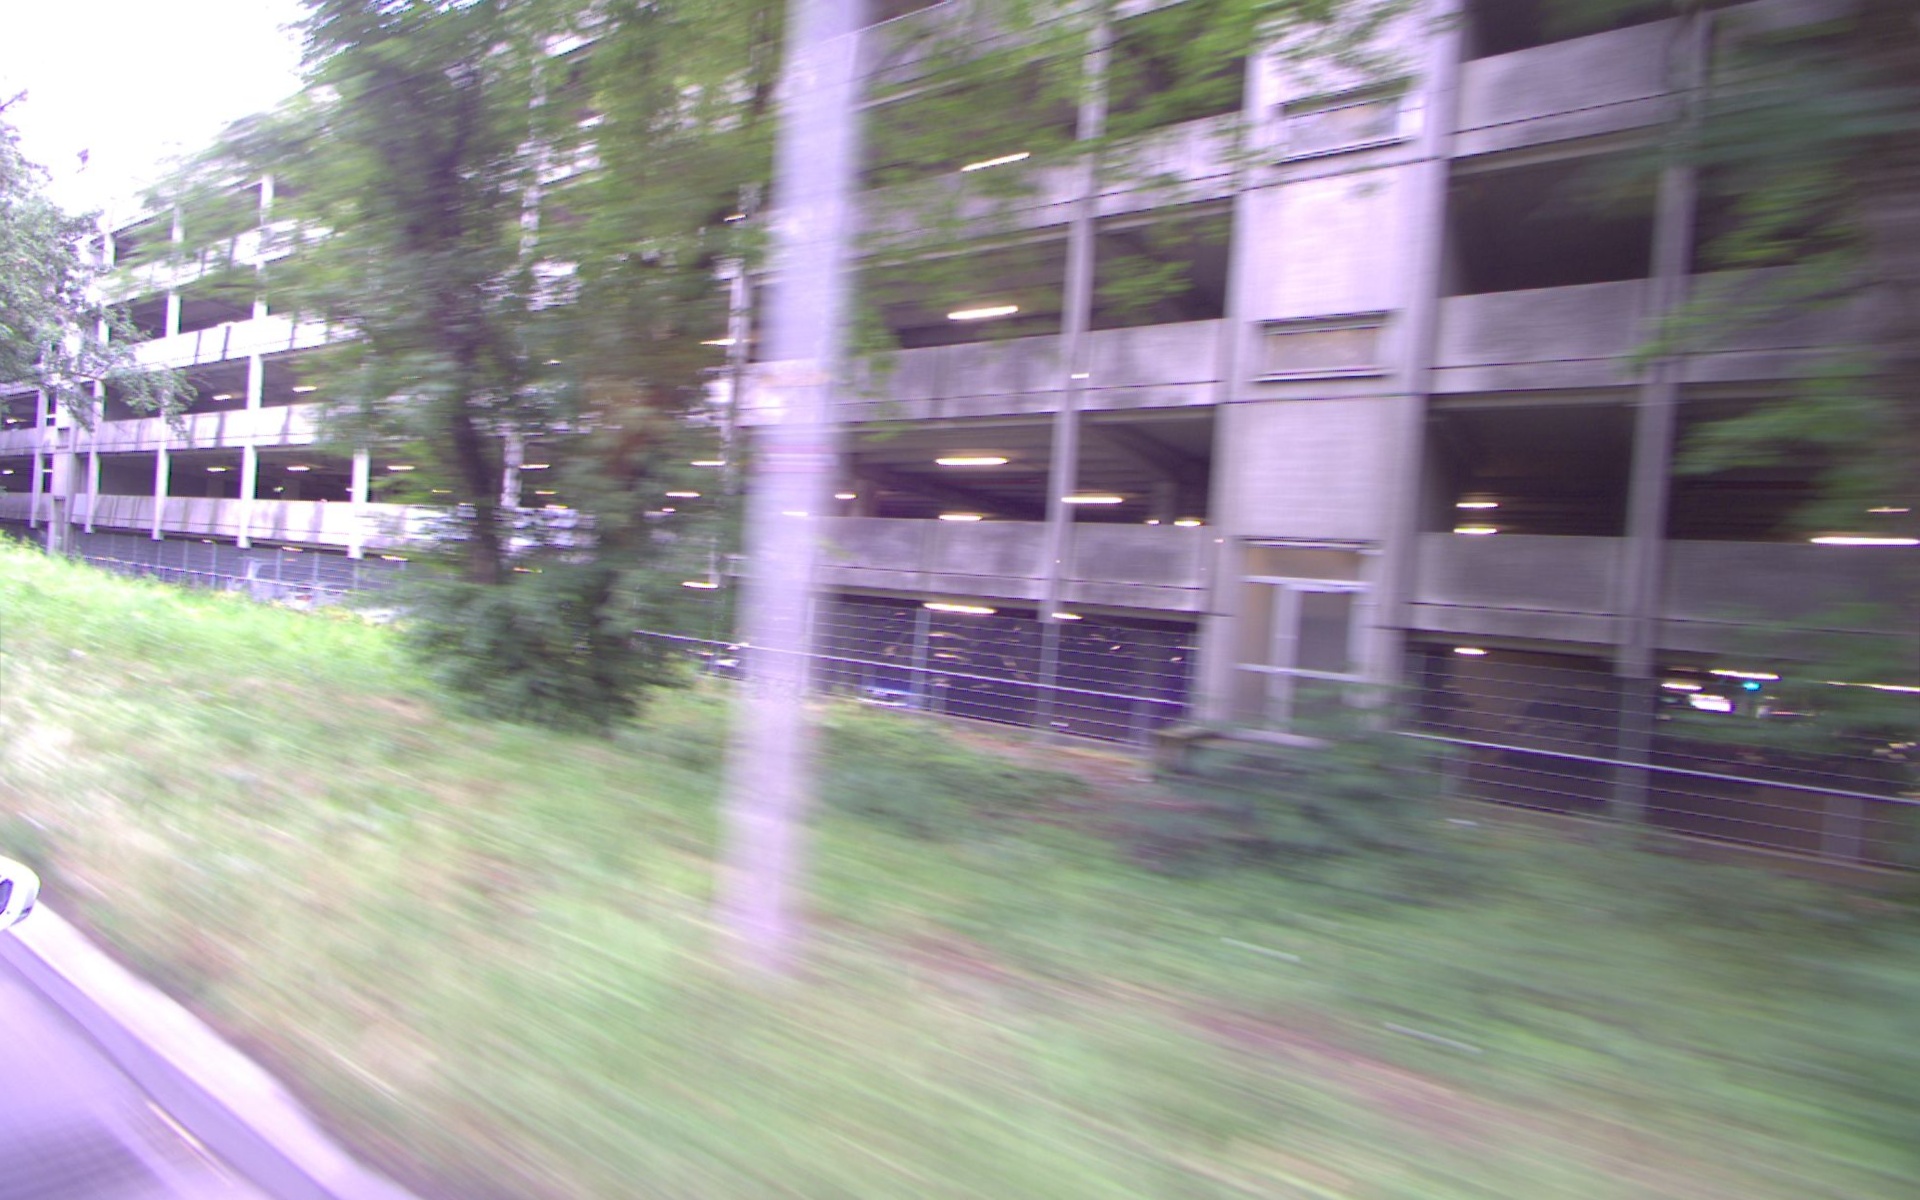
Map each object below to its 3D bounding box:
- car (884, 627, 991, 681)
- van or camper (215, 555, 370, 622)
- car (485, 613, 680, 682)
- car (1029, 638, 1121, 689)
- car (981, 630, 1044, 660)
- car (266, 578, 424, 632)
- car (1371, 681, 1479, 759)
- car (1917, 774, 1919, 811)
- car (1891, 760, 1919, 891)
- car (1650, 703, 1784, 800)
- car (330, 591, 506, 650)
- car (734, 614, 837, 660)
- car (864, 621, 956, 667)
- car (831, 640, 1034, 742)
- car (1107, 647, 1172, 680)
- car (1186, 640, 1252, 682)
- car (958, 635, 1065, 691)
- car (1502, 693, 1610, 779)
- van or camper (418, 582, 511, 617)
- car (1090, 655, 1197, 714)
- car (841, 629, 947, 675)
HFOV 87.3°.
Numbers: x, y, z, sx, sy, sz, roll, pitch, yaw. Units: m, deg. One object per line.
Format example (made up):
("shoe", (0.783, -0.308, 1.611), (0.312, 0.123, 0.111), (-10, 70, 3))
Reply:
("car", (-0.664, 1.746, 32.654), (1.646, 1.498, 3.664), (6, 1, 32))
("van or camper", (-23.113, -0.373, 34.963), (1.810, 1.979, 4.007), (5, 0, 32))
("car", (-9.997, 1.282, 26.983), (1.916, 1.526, 4.591), (6, 1, 33))
("car", (4.043, 2.161, 34.824), (1.646, 1.501, 3.664), (6, 1, 32))
("car", (2.671, 2.294, 50.519), (1.668, 1.284, 3.518), (6, 0, 30))
("car", (-20.287, 0.187, 33.332), (1.918, 1.454, 4.007), (5, 0, 32))
("car", (11.461, 2.847, 24.652), (1.796, 1.470, 4.062), (6, 0, 32))
("car", (19.243, 3.434, 18.459), (1.684, 1.544, 3.716), (4, -1, 33))
("car", (11.978, 2.786, 11.106), (1.684, 1.474, 4.443), (4, -1, 33))
("car", (16.178, 3.162, 21.690), (1.796, 1.507, 4.062), (6, 0, 32))
("car", (-16.383, 0.669, 30.605), (1.918, 1.525, 4.256), (5, 0, 32))
("car", (-6.321, 1.359, 36.797), (1.646, 1.459, 3.664), (6, 0, 31))
("car", (-1.902, 1.737, 39.587), (1.759, 1.564, 3.694), (5, 0, 31))
("car", (-0.416, 1.680, 19.420), (1.834, 1.552, 3.987), (6, 1, 34))
("car", (8.354, 2.964, 46.668), (1.669, 1.284, 3.516), (6, -1, 33))
("car", (11.344, 2.684, 43.932), (1.669, 1.589, 3.516), (6, 0, 33))
("car", (1.660, 1.935, 31.300), (1.646, 1.501, 3.664), (6, 1, 32))
("car", (13.409, 2.958, 22.598), (1.796, 1.433, 4.062), (6, 0, 32))
("van or camper", (-24.337, -0.002, 49.500), (1.700, 1.427, 3.712), (5, 0, 34))
("car", (5.212, 2.312, 28.272), (1.646, 1.368, 3.664), (6, 0, 32))
("car", (-2.165, 1.735, 33.860), (1.646, 1.300, 3.664), (6, 0, 32))
